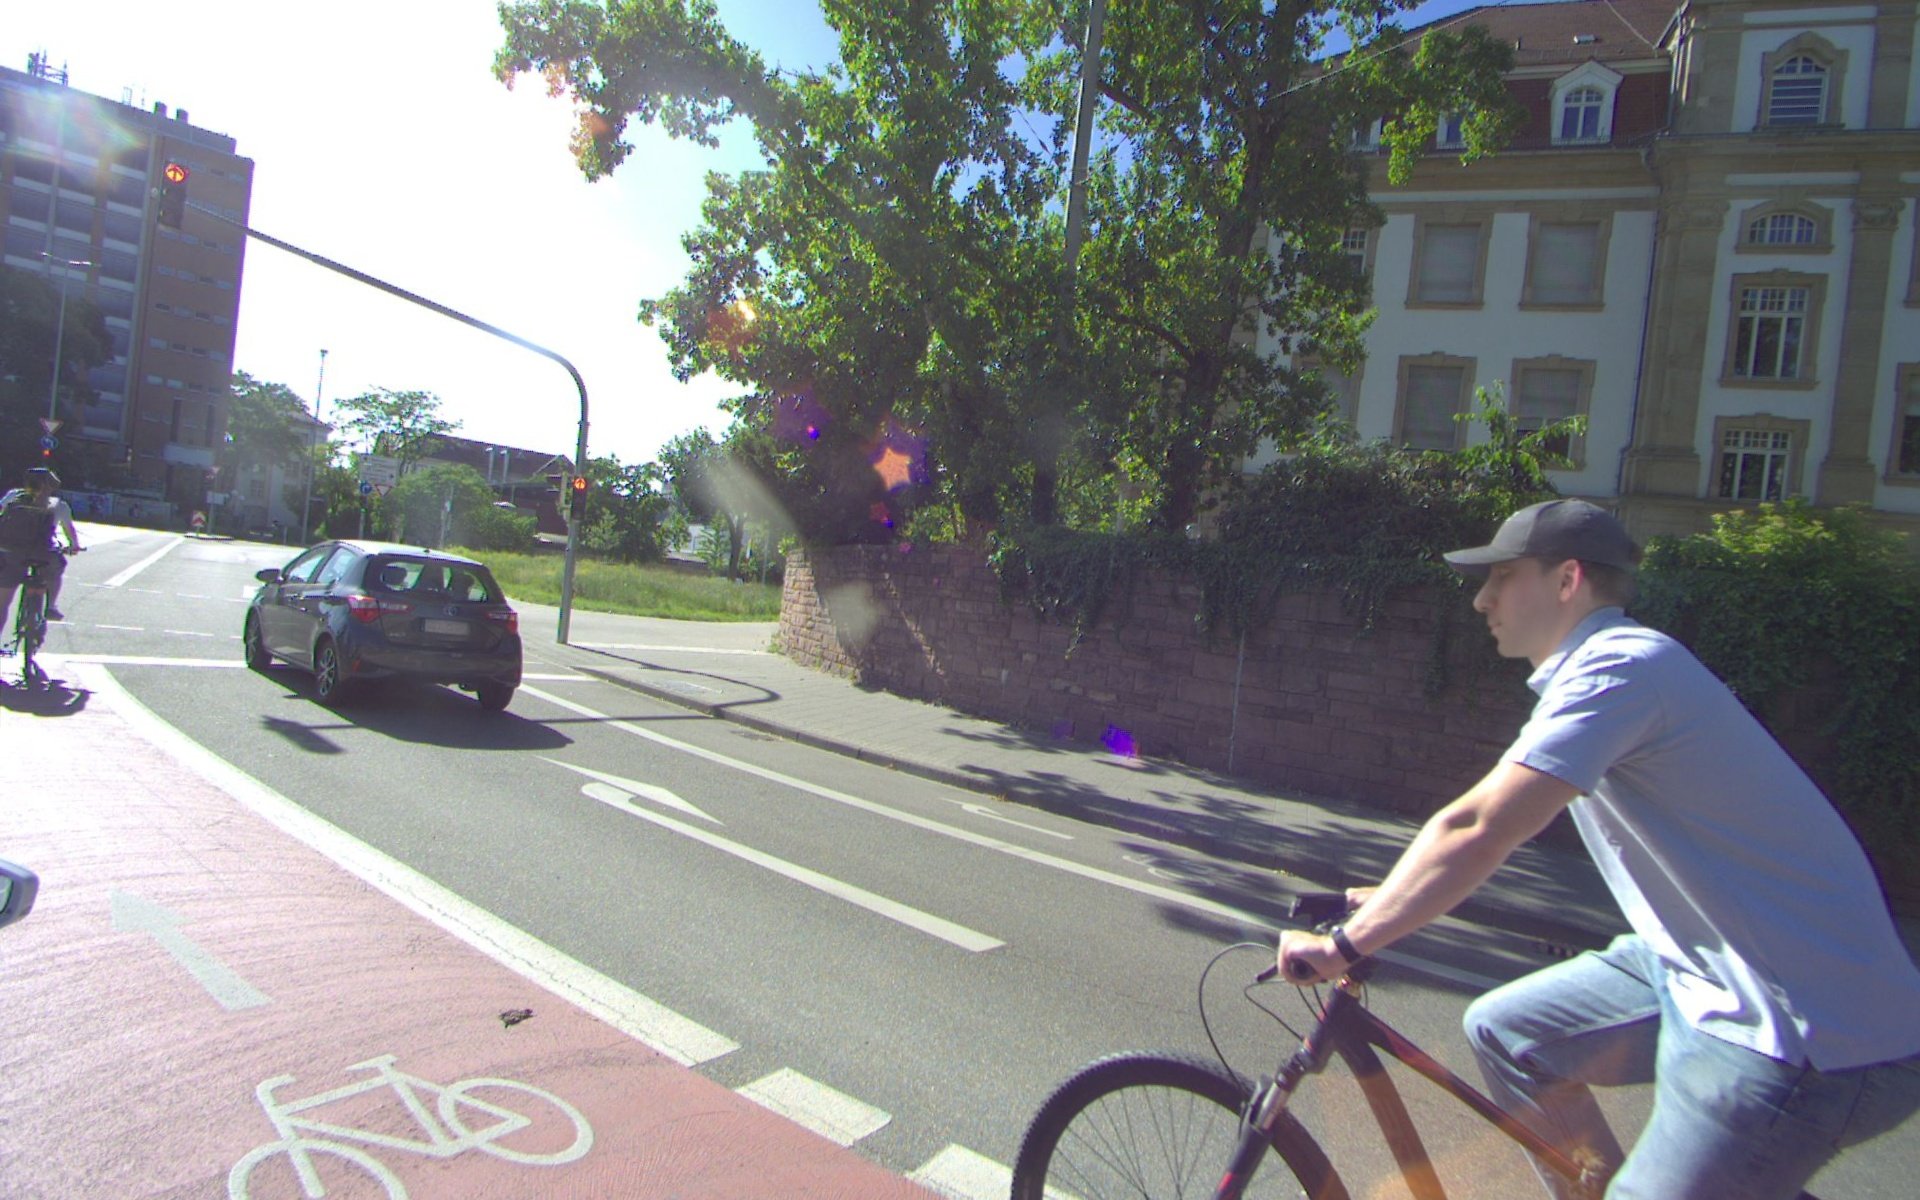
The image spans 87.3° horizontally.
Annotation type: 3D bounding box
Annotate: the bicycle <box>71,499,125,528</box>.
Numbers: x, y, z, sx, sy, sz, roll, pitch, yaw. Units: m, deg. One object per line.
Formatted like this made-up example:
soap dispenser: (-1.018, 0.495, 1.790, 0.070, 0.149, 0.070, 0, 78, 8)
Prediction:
bicycle: (-62.408, -6.249, 72.871, 2.784, 1.559, 0.877, 8, -2, -34)

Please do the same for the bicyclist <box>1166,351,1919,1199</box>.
bicyclist: (0.987, 0.618, 1.614, 0.998, 1.797, 0.750, 7, 0, 35)

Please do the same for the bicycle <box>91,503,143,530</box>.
bicycle: (-63.262, -6.244, 75.510, 2.784, 1.559, 0.877, 8, -2, -34)

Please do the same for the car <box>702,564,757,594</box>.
car: (-20.656, -1.861, 90.075, 4.309, 2.037, 1.988, 7, -2, -27)

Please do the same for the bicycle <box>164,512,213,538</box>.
bicycle: (-59.263, -5.722, 77.292, 2.784, 1.559, 0.877, 8, -2, -34)

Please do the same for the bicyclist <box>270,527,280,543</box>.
bicyclist: (-67.892, -6.459, 99.696, 0.613, 1.462, 0.813, 6, 1, -28)

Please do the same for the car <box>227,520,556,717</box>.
car: (-5.965, 0.143, 10.409, 3.607, 1.560, 1.754, 6, -1, 41)

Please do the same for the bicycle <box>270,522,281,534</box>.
bicycle: (-67.814, -7.168, 99.695, 0.603, 1.106, 1.660, 6, 1, -27)

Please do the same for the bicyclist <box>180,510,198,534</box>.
bicyclist: (-59.224, -5.962, 77.284, 0.852, 1.712, 0.877, 7, -1, -33)

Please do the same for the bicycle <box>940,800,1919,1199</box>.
bicycle: (0.885, 1.078, 1.667, 1.801, 1.090, 0.611, 6, 0, 35)

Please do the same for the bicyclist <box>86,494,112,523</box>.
bicyclist: (-62.353, -6.615, 72.871, 1.199, 1.919, 0.877, 7, -1, -33)

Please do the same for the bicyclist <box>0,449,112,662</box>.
bicyclist: (-7.837, -0.380, 8.574, 0.720, 1.645, 1.042, 8, -1, -44)

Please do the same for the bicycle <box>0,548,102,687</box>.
bicycle: (-7.913, 0.113, 8.578, 0.721, 0.971, 1.860, 8, -1, -44)
